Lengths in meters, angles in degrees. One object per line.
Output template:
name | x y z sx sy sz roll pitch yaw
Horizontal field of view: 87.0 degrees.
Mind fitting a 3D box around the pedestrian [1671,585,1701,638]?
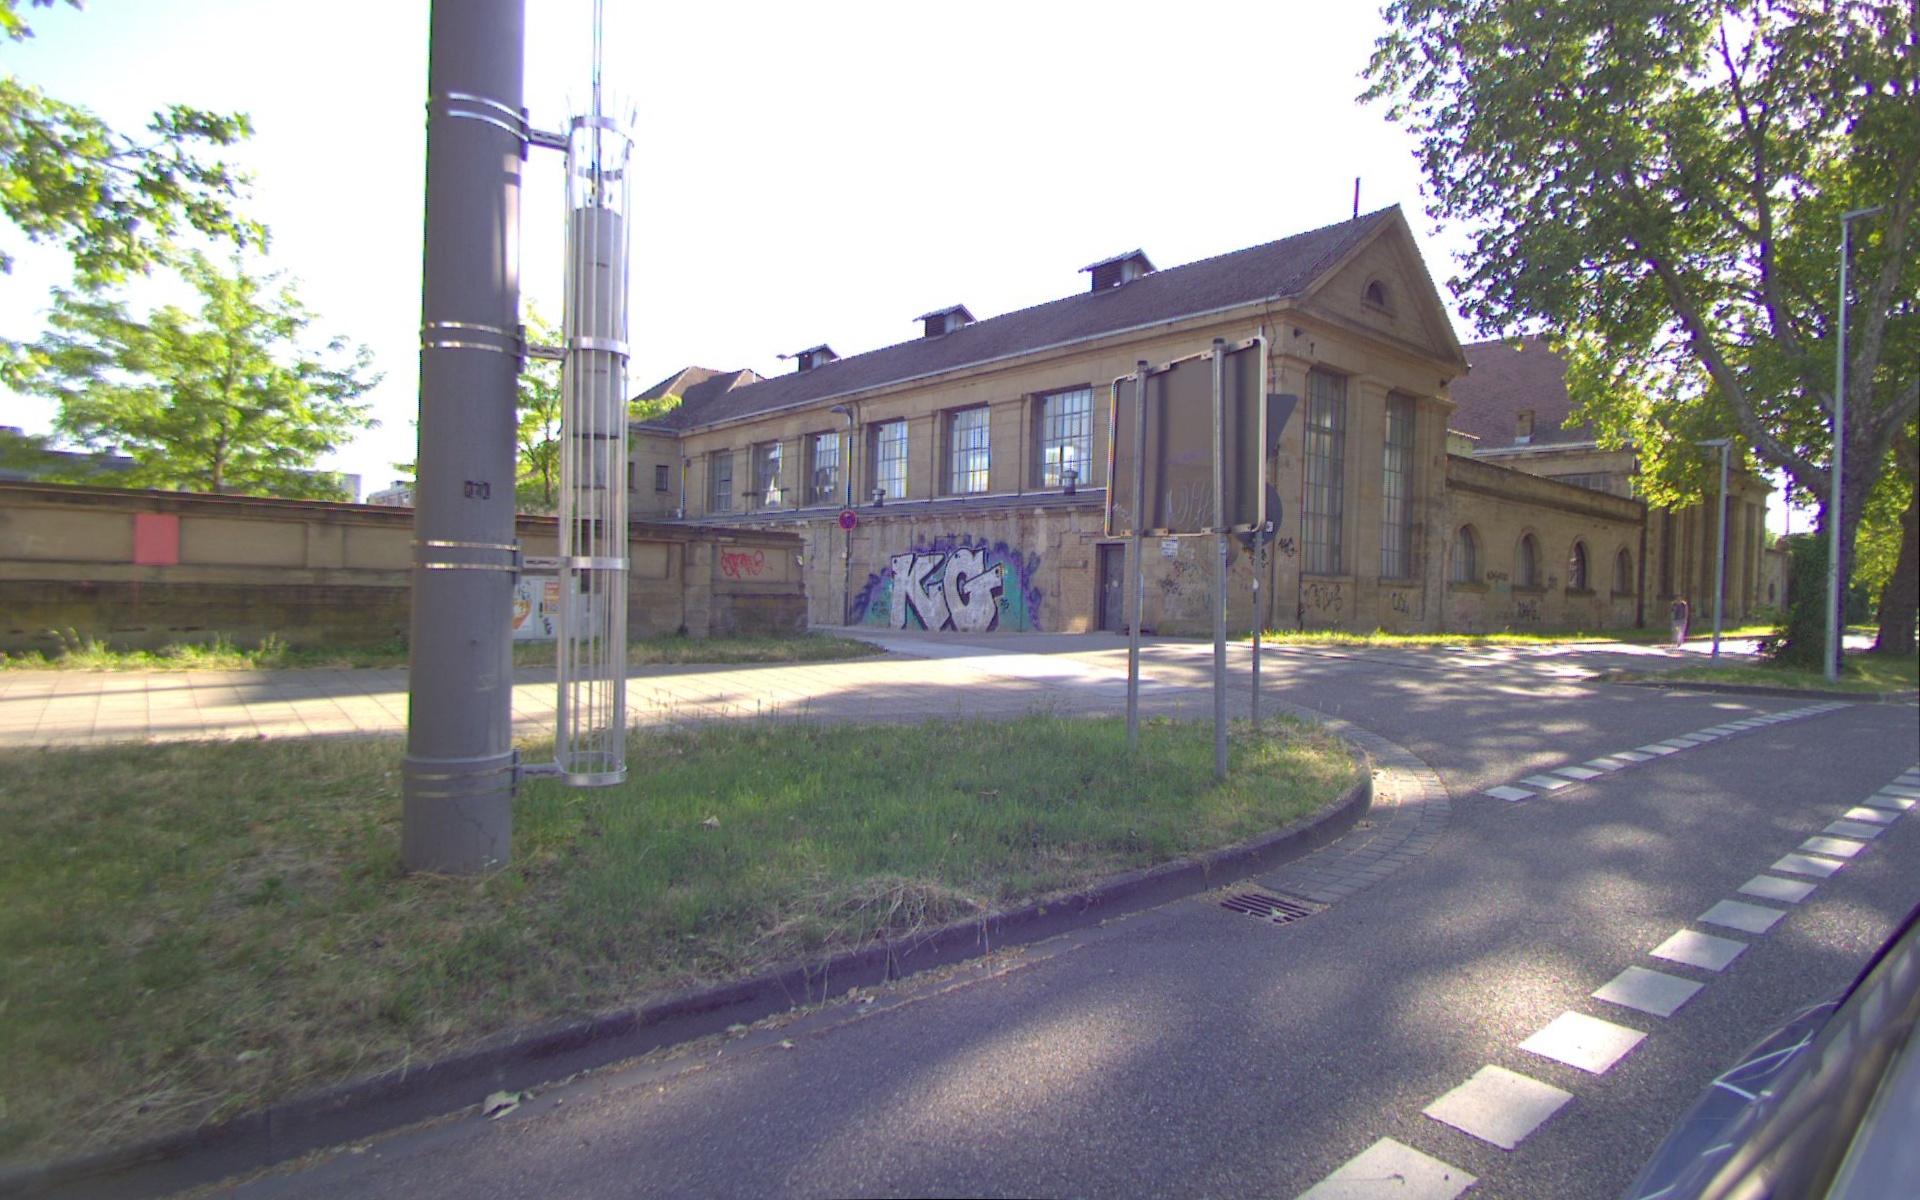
pedestrian | 23.766 0.362 33.124 0.669 1.682 0.862 3 2 39
